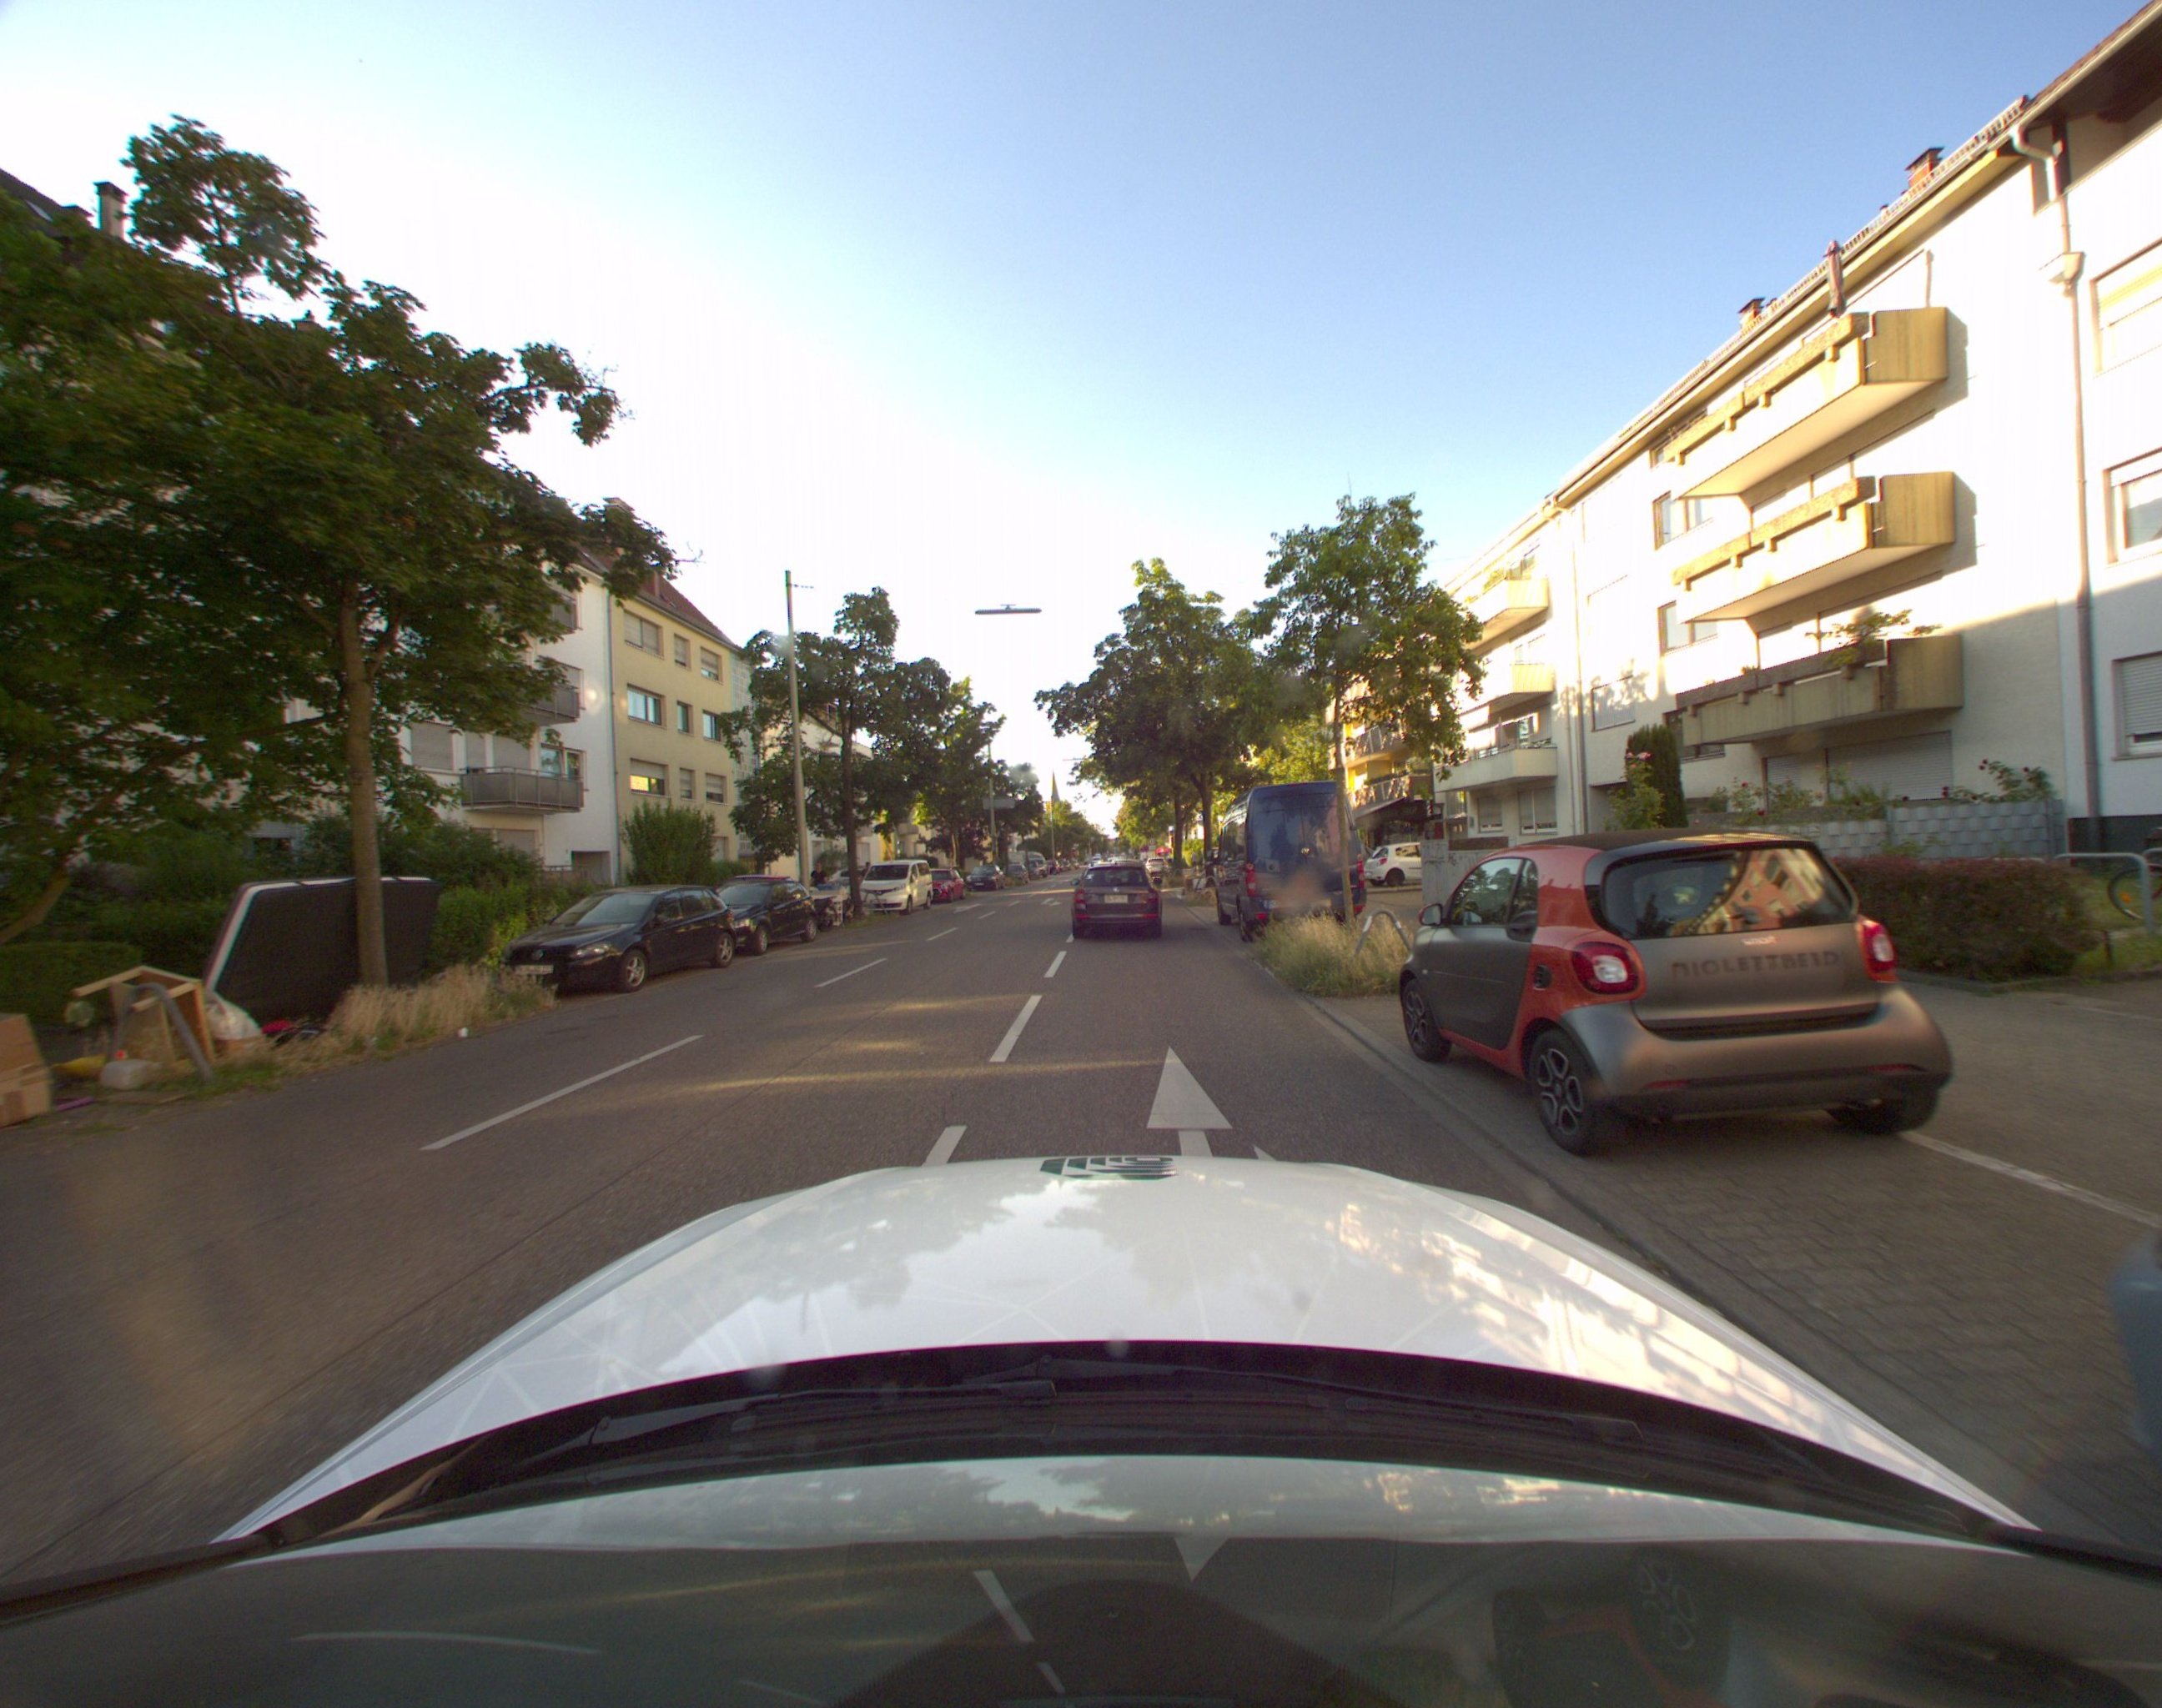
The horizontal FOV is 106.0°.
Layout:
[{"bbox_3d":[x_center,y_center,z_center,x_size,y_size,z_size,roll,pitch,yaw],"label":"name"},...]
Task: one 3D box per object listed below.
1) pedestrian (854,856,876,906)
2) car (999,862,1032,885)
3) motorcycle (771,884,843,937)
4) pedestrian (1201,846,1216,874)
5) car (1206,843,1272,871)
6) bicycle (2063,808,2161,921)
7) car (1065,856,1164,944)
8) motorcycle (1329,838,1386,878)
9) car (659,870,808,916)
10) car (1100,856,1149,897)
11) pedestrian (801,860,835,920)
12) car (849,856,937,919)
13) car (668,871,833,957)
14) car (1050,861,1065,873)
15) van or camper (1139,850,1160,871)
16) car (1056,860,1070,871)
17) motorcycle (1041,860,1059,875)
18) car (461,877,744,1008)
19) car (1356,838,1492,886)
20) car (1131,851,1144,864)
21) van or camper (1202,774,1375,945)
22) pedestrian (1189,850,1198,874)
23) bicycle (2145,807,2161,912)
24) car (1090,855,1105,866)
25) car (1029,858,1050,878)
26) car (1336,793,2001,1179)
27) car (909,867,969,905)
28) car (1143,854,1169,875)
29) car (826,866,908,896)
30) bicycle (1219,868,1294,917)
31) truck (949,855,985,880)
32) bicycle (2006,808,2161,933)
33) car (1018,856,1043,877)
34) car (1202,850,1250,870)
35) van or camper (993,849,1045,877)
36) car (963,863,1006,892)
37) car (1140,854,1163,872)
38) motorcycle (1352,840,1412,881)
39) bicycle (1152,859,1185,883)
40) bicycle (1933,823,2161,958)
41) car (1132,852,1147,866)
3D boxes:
[{"bbox_3d":[-8.931,1.106,33.707,0.624,2.013,0.616,-2,0,2],"label":"pedestrian"},{"bbox_3d":[-4.718,1.395,59.085,1.747,1.420,4.429,-2,0,3],"label":"car"},{"bbox_3d":[-6.961,1.414,20.743,0.436,1.192,1.718,-3,0,40],"label":"motorcycle"},{"bbox_3d":[8.376,0.418,53.530,0.754,1.796,0.905,-2,0,-2],"label":"pedestrian"},{"bbox_3d":[11.937,0.256,61.489,4.556,1.892,1.899,-3,0,-25],"label":"car"},{"bbox_3d":[10.624,0.089,7.839,0.490,1.089,1.545,-2,0,2],"label":"bicycle"},{"bbox_3d":[0.741,0.830,16.690,1.722,1.493,3.955,-2,0,4],"label":"car"},{"bbox_3d":[11.972,0.156,35.283,2.181,1.621,0.733,-2,0,8],"label":"motorcycle"},{"bbox_3d":[-12.850,1.417,30.431,4.712,1.362,1.993,-3,0,-11],"label":"car"},{"bbox_3d":[1.767,0.897,34.043,1.724,1.493,3.949,-2,0,-1],"label":"car"},{"bbox_3d":[-9.222,1.237,28.587,0.764,2.013,0.976,-2,0,2],"label":"pedestrian"},{"bbox_3d":[-6.440,1.088,28.464,1.762,1.919,4.463,-2,0,3],"label":"car"},{"bbox_3d":[-6.989,1.204,17.717,1.743,1.502,3.981,-2,0,3],"label":"car"},{"bbox_3d":[-2.945,1.613,102.244,1.657,1.432,3.277,-2,0,2],"label":"car"},{"bbox_3d":[7.171,0.653,85.641,1.985,2.013,4.003,-2,0,3],"label":"van or camper"},{"bbox_3d":[-2.537,1.631,112.859,1.657,1.432,3.277,-2,0,2],"label":"car"},{"bbox_3d":[-3.281,1.430,87.007,0.771,1.512,2.006,-2,0,-40],"label":"motorcycle"},{"bbox_3d":[-7.146,1.224,12.771,1.743,1.502,4.200,-2,0,3],"label":"car"},{"bbox_3d":[12.018,0.268,28.705,3.975,1.462,1.824,-3,0,-1],"label":"car"},{"bbox_3d":[8.389,0.553,121.434,1.723,1.815,3.952,-2,0,1],"label":"car"},{"bbox_3d":[3.791,0.121,16.123,2.059,2.675,5.994,-3,-1,3],"label":"van or camper"},{"bbox_3d":[8.662,0.633,62.643,0.532,1.794,0.688,-2,0,4],"label":"pedestrian"},{"bbox_3d":[11.463,0.052,7.813,0.490,1.089,1.545,-2,0,2],"label":"bicycle"},{"bbox_3d":[3.022,1.222,150.388,1.863,1.757,4.194,-2,0,13],"label":"car"},{"bbox_3d":[-3.908,1.264,76.717,1.501,1.757,3.696,-2,0,2],"label":"car"},{"bbox_3d":[3.202,0.609,5.508,1.766,1.642,3.757,-2,-1,1],"label":"car"},{"bbox_3d":[-6.098,1.339,35.379,1.710,1.421,3.789,-2,0,3],"label":"car"},{"bbox_3d":[5.677,0.762,61.626,1.812,1.413,4.116,-2,0,5],"label":"car"},{"bbox_3d":[-11.706,1.472,44.761,3.976,1.479,1.999,-2,0,-2],"label":"car"},{"bbox_3d":[4.173,0.909,19.431,1.693,1.089,0.405,-2,0,5],"label":"bicycle"},{"bbox_3d":[-10.267,1.215,73.725,2.902,2.093,1.547,-2,0,2],"label":"truck"},{"bbox_3d":[9.653,0.133,7.507,0.490,1.089,1.545,-2,0,2],"label":"bicycle"},{"bbox_3d":[-4.411,1.103,72.063,1.743,1.740,3.593,-2,0,3],"label":"car"},{"bbox_3d":[12.395,0.486,69.602,3.812,1.525,1.502,-3,0,-20],"label":"car"},{"bbox_3d":[-9.387,1.349,123.503,7.614,3.874,2.000,-3,0,0],"label":"van or camper"},{"bbox_3d":[-5.589,1.334,47.564,1.710,1.497,4.251,-2,0,3],"label":"car"},{"bbox_3d":[6.075,0.730,70.245,1.812,1.413,4.116,-2,0,5],"label":"car"},{"bbox_3d":[12.667,0.257,34.350,2.181,1.621,0.892,-2,0,9],"label":"motorcycle"},{"bbox_3d":[4.953,0.942,46.008,1.658,1.226,0.638,-5,-1,15],"label":"bicycle"},{"bbox_3d":[8.812,0.292,7.416,0.490,1.089,1.545,-2,0,2],"label":"bicycle"},{"bbox_3d":[7.836,0.612,108.945,1.723,1.815,3.952,-2,0,1],"label":"car"}]
